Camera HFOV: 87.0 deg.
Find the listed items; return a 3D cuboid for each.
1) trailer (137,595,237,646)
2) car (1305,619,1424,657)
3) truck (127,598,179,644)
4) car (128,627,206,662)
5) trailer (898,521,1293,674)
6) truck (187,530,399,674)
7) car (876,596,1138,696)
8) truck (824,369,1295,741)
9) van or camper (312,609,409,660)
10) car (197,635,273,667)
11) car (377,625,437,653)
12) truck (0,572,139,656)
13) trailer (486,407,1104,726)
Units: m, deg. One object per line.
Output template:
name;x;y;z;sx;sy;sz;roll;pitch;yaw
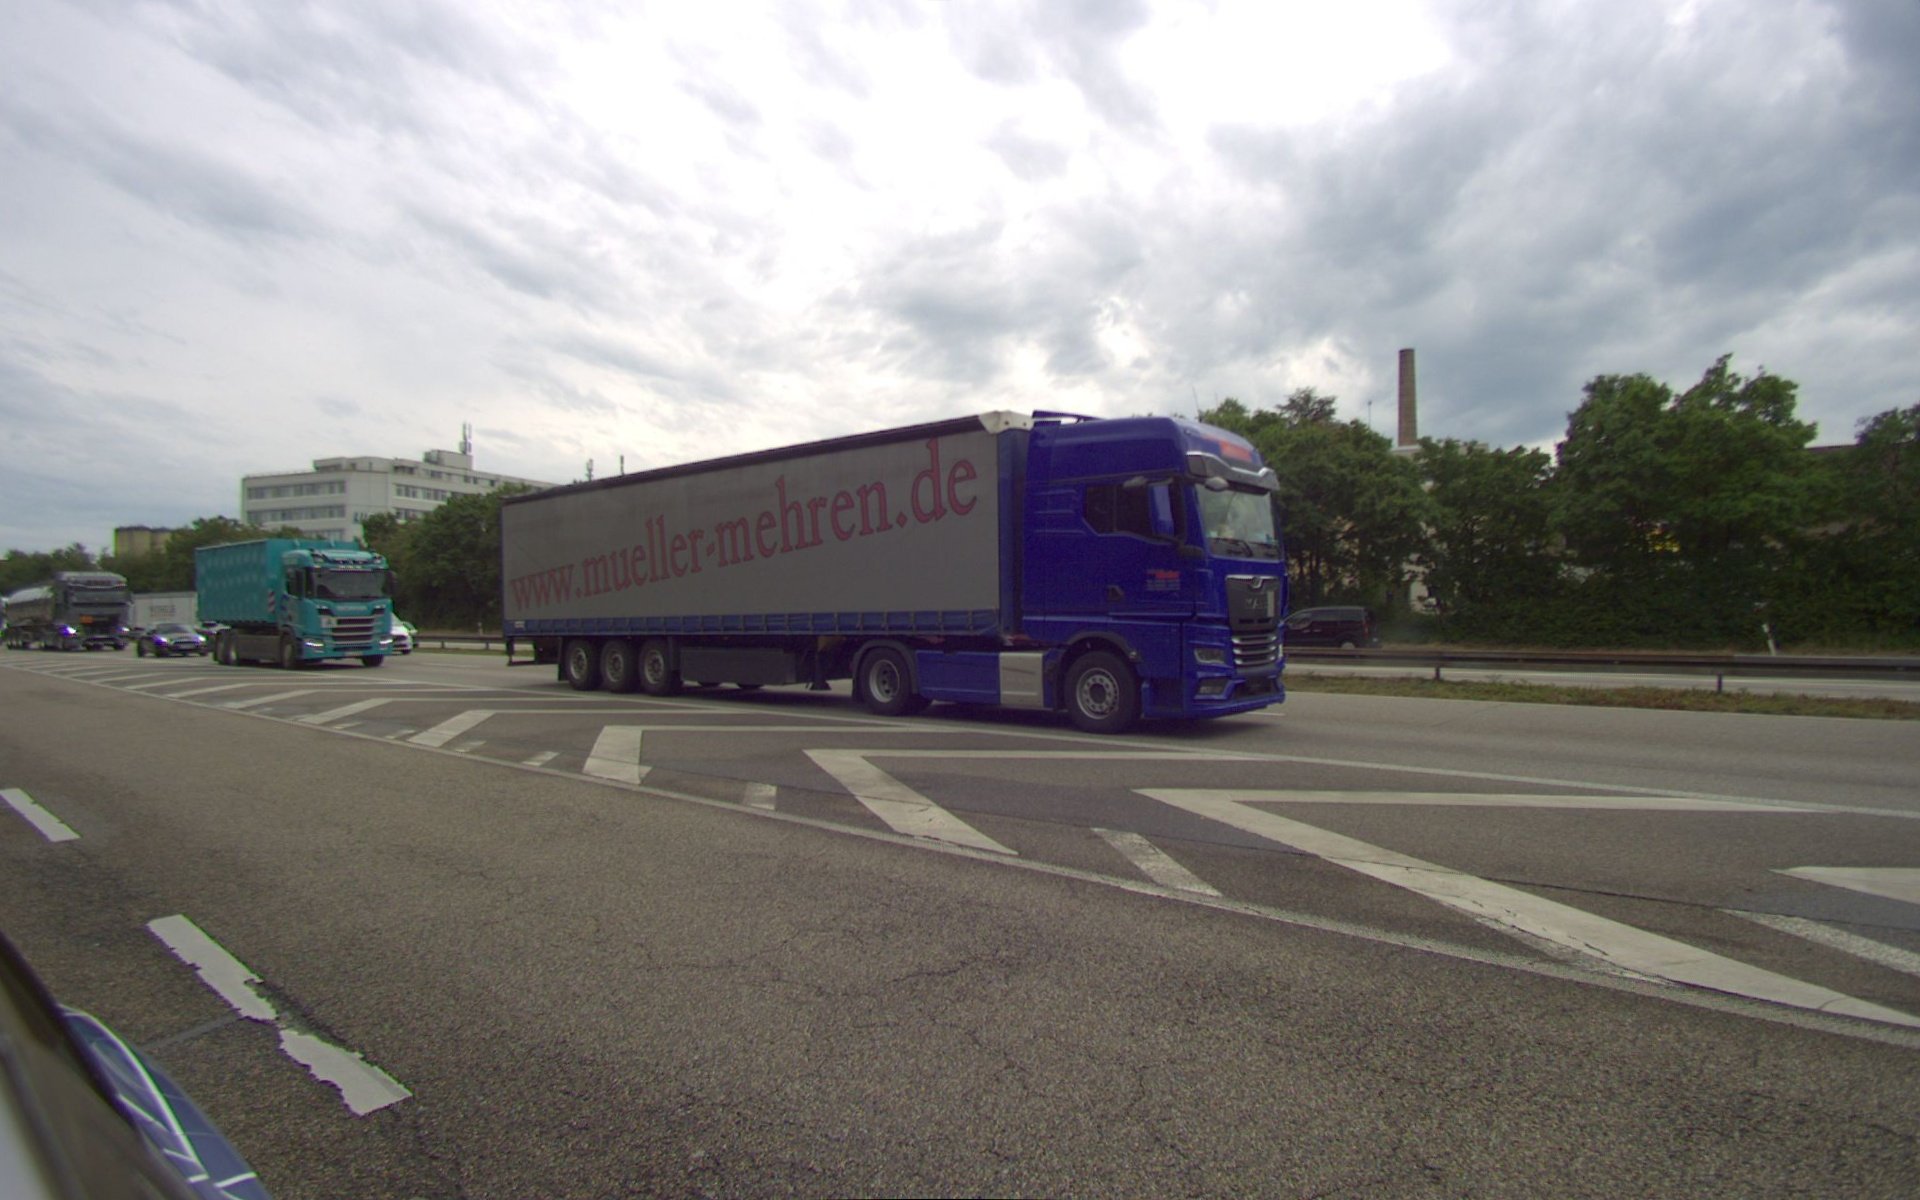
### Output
trailer;-64.940;1.729;84.820;13.748;4.012;2.571;-1;-2;35
car;13.602;1.271;34.137;3.435;1.202;1.524;-1;-2;40
truck;-70.983;1.860;89.017;3.990;4.021;2.574;-1;-2;34
car;-32.368;1.790;41.268;3.996;1.332;1.735;-1;-1;40
trailer;3.702;0.075;32.618;13.345;4.095;2.736;-2;-2;41
truck;-21.627;0.163;32.495;10.111;4.031;2.667;-1;-1;38
car;0.783;0.836;19.583;5.082;1.691;1.766;-2;-1;41
truck;1.129;-0.418;13.780;5.923;3.991;2.641;-2;-1;40
van or camper;-23.643;1.354;39.852;4.584;1.907;1.700;-1;-1;37
car;-35.118;2.441;49.018;4.048;1.444;1.875;-1;-2;37
car;-29.503;2.056;53.932;3.558;1.444;1.479;-1;-2;37
truck;-47.318;0.799;53.182;13.119;3.955;3.289;-1;-1;36
trailer;-4.049;-0.278;18.226;13.910;4.005;2.646;-2;-1;41
